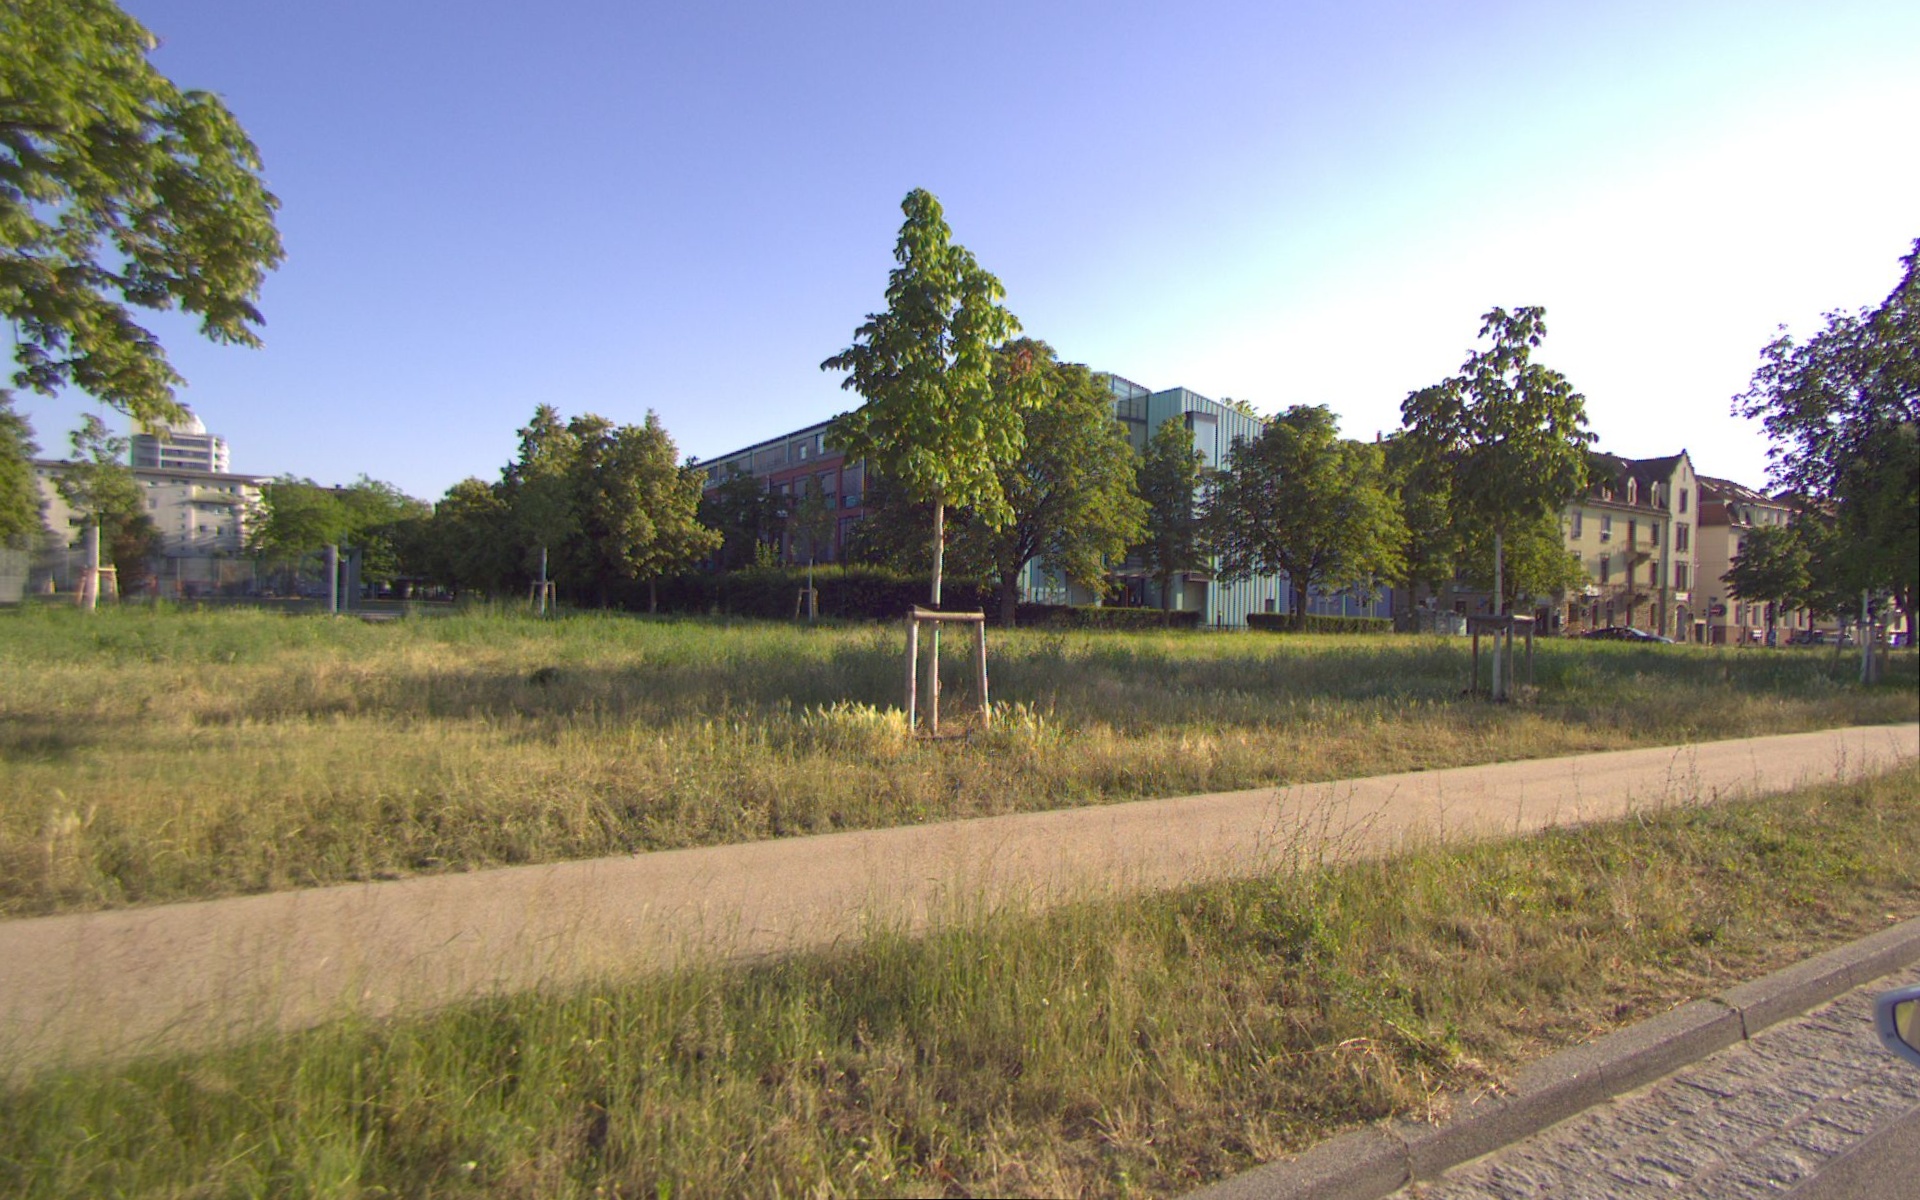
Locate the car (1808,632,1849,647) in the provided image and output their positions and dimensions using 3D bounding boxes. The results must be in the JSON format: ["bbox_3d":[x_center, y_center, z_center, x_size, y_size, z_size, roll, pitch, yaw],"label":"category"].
[{"bbox_3d":[88.152,3.999,101.943,3.740,1.446,1.733,2,0,-25],"label":"car"}]

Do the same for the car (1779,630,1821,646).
[{"bbox_3d":[82.680,3.717,98.894,3.740,1.416,1.733,2,0,-24],"label":"car"}]

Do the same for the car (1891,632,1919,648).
[{"bbox_3d":[93.696,3.936,99.030,3.748,1.446,1.729,2,0,-30],"label":"car"}]

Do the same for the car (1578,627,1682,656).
[{"bbox_3d":[39.252,2.423,58.973,1.799,1.453,4.728,3,0,-38],"label":"car"}]

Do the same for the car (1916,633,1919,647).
[{"bbox_3d":[98.610,4.072,101.637,3.747,1.446,1.729,0,1,-30],"label":"car"}]
